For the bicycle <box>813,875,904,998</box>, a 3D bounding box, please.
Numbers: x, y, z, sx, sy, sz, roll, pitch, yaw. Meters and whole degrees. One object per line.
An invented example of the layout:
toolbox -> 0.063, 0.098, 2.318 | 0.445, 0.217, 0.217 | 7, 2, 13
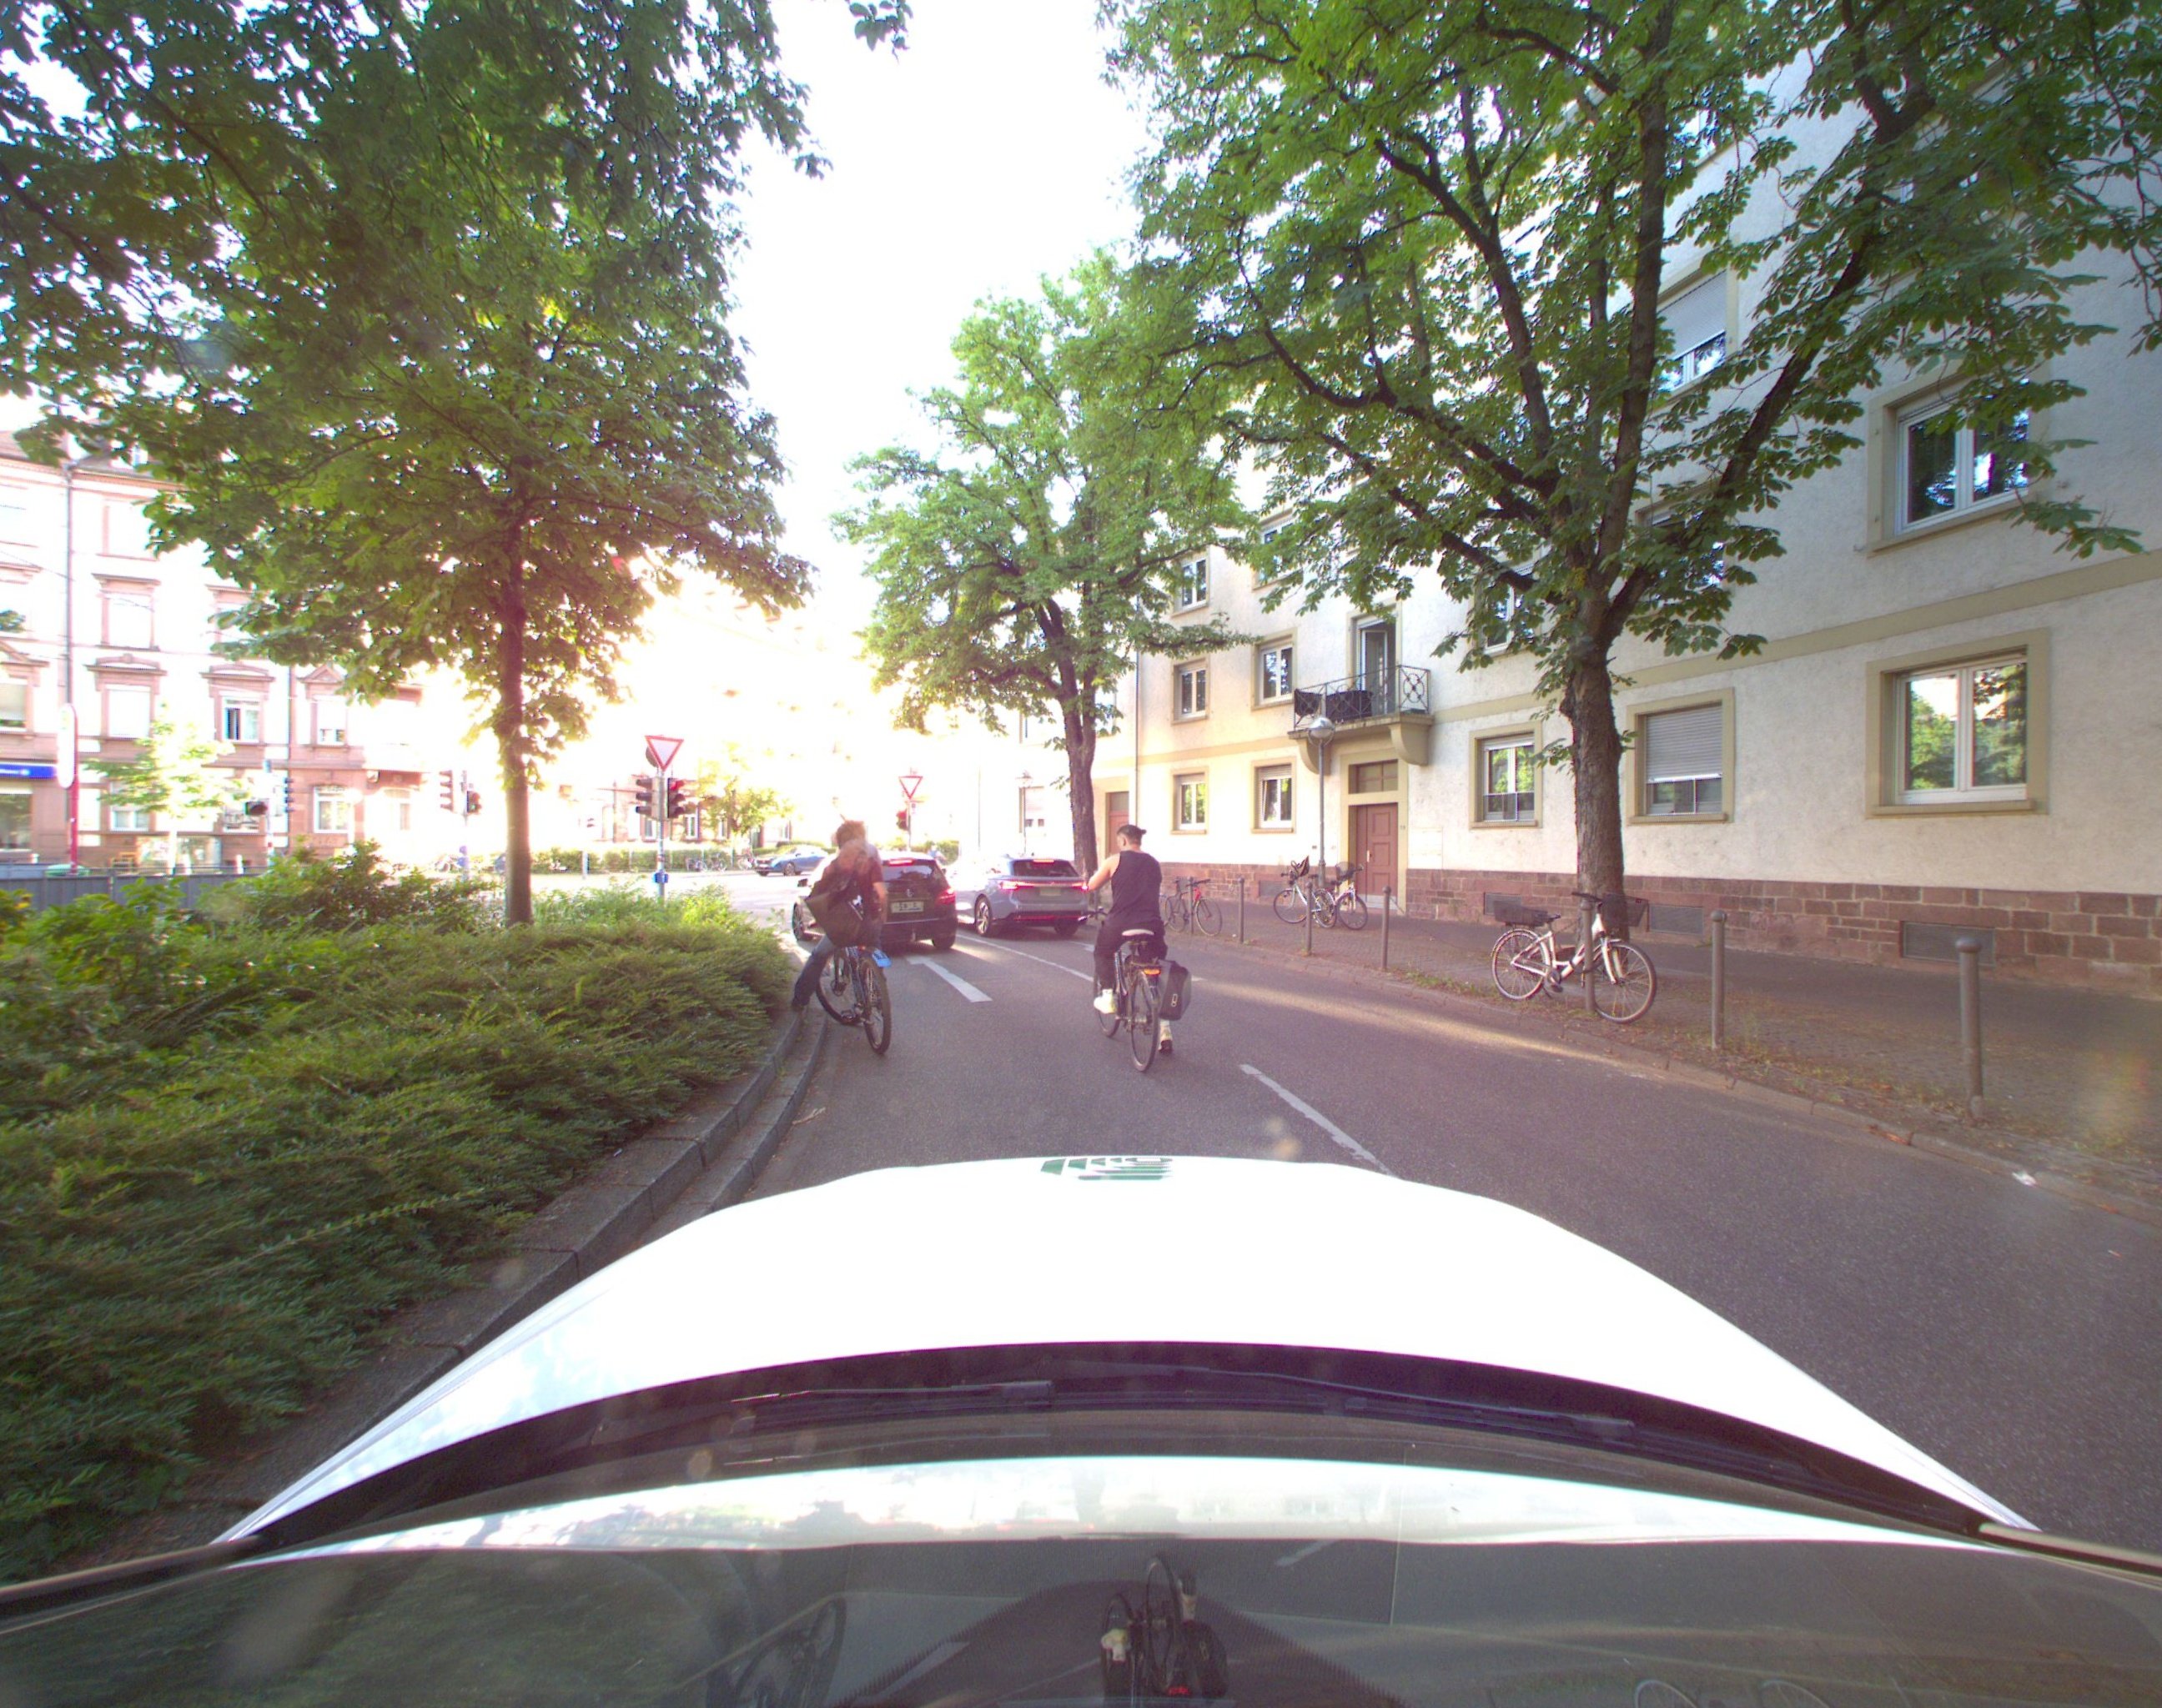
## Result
bicycle -> -2.640, 0.874, 9.495 | 0.813, 1.184, 2.211 | 0, 0, -21

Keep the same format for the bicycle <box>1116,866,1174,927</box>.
bicycle -> 1.241, 0.819, 16.108 | 0.482, 1.063, 1.625 | -2, 2, -20

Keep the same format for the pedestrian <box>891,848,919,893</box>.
pedestrian -> -6.665, 0.610, 30.751 | 0.904, 1.635, 0.721 | 2, 1, -19

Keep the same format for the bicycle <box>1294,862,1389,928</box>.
bicycle -> 4.725, 0.710, 14.925 | 0.669, 1.107, 1.955 | 1, 0, -17

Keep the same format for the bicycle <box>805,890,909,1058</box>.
bicycle -> -1.915, 0.909, 6.894 | 0.719, 1.107, 1.955 | 1, 0, -17

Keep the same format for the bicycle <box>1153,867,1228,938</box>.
bicycle -> 1.914, 0.819, 14.503 | 0.528, 1.107, 1.728 | -3, 2, -21

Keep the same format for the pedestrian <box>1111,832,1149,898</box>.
pedestrian -> 1.307, 0.274, 21.907 | 0.646, 1.727, 0.881 | -3, 2, -25

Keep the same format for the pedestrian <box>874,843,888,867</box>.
pedestrian -> -14.280, 0.079, 58.162 | 0.655, 1.715, 0.640 | 0, 0, 32

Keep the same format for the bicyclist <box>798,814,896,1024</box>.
bicyclist -> -1.903, 0.488, 6.669 | 0.708, 1.573, 0.952 | 1, 0, -16

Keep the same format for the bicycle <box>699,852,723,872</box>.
bicycle -> -20.789, 0.428, 45.742 | 0.438, 1.107, 1.241 | 1, 1, 25

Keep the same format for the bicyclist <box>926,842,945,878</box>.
bicyclist -> -6.653, 0.276, 37.267 | 0.523, 1.598, 0.679 | 0, 0, 33

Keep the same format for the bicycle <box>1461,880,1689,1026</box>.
bicycle -> 4.501, 0.834, 7.619 | 0.514, 1.095, 1.962 | -2, 1, -18

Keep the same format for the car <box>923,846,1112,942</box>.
car -> -1.406, 0.678, 15.963 | 1.982, 1.585, 4.433 | 2, -1, -29

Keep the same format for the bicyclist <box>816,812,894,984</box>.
bicyclist -> -2.680, 0.485, 9.612 | 0.797, 1.913, 0.938 | 1, 0, -21

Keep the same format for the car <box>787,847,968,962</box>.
car -> -3.478, 0.694, 13.411 | 1.802, 1.542, 3.821 | -2, 1, -32

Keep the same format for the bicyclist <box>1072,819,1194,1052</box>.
bicyclist -> 0.376, 0.576, 6.380 | 0.687, 1.656, 0.985 | -1, 0, -13

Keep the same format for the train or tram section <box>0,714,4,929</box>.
train or tram section -> -21.442, -0.558, 8.577 | 2.769, 3.619, 11.857 | 1, 0, 19

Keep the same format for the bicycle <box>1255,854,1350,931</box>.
bicycle -> 4.014, 0.656, 14.926 | 0.719, 1.277, 1.954 | -1, 1, -18

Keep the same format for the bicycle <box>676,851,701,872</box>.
bicycle -> -21.416, 0.396, 44.453 | 0.438, 1.107, 1.241 | 1, 1, 25

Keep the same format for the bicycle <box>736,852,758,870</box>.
bicycle -> -19.757, 0.408, 48.153 | 0.438, 1.038, 1.240 | 1, 1, 24

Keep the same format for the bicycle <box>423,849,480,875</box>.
bicycle -> -28.117, 0.377, 36.393 | 1.975, 1.107, 0.438 | 2, -1, -38

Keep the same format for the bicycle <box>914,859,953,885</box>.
bicycle -> -6.710, 0.802, 37.192 | 0.529, 1.107, 1.979 | 0, 0, 33

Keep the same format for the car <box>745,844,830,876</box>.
car -> -15.666, 0.294, 43.704 | 1.926, 1.650, 4.432 | 0, 0, 19

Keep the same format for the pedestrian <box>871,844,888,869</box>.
pedestrian -> -14.110, 0.174, 57.032 | 0.703, 1.664, 0.904 | 4, 2, 36
